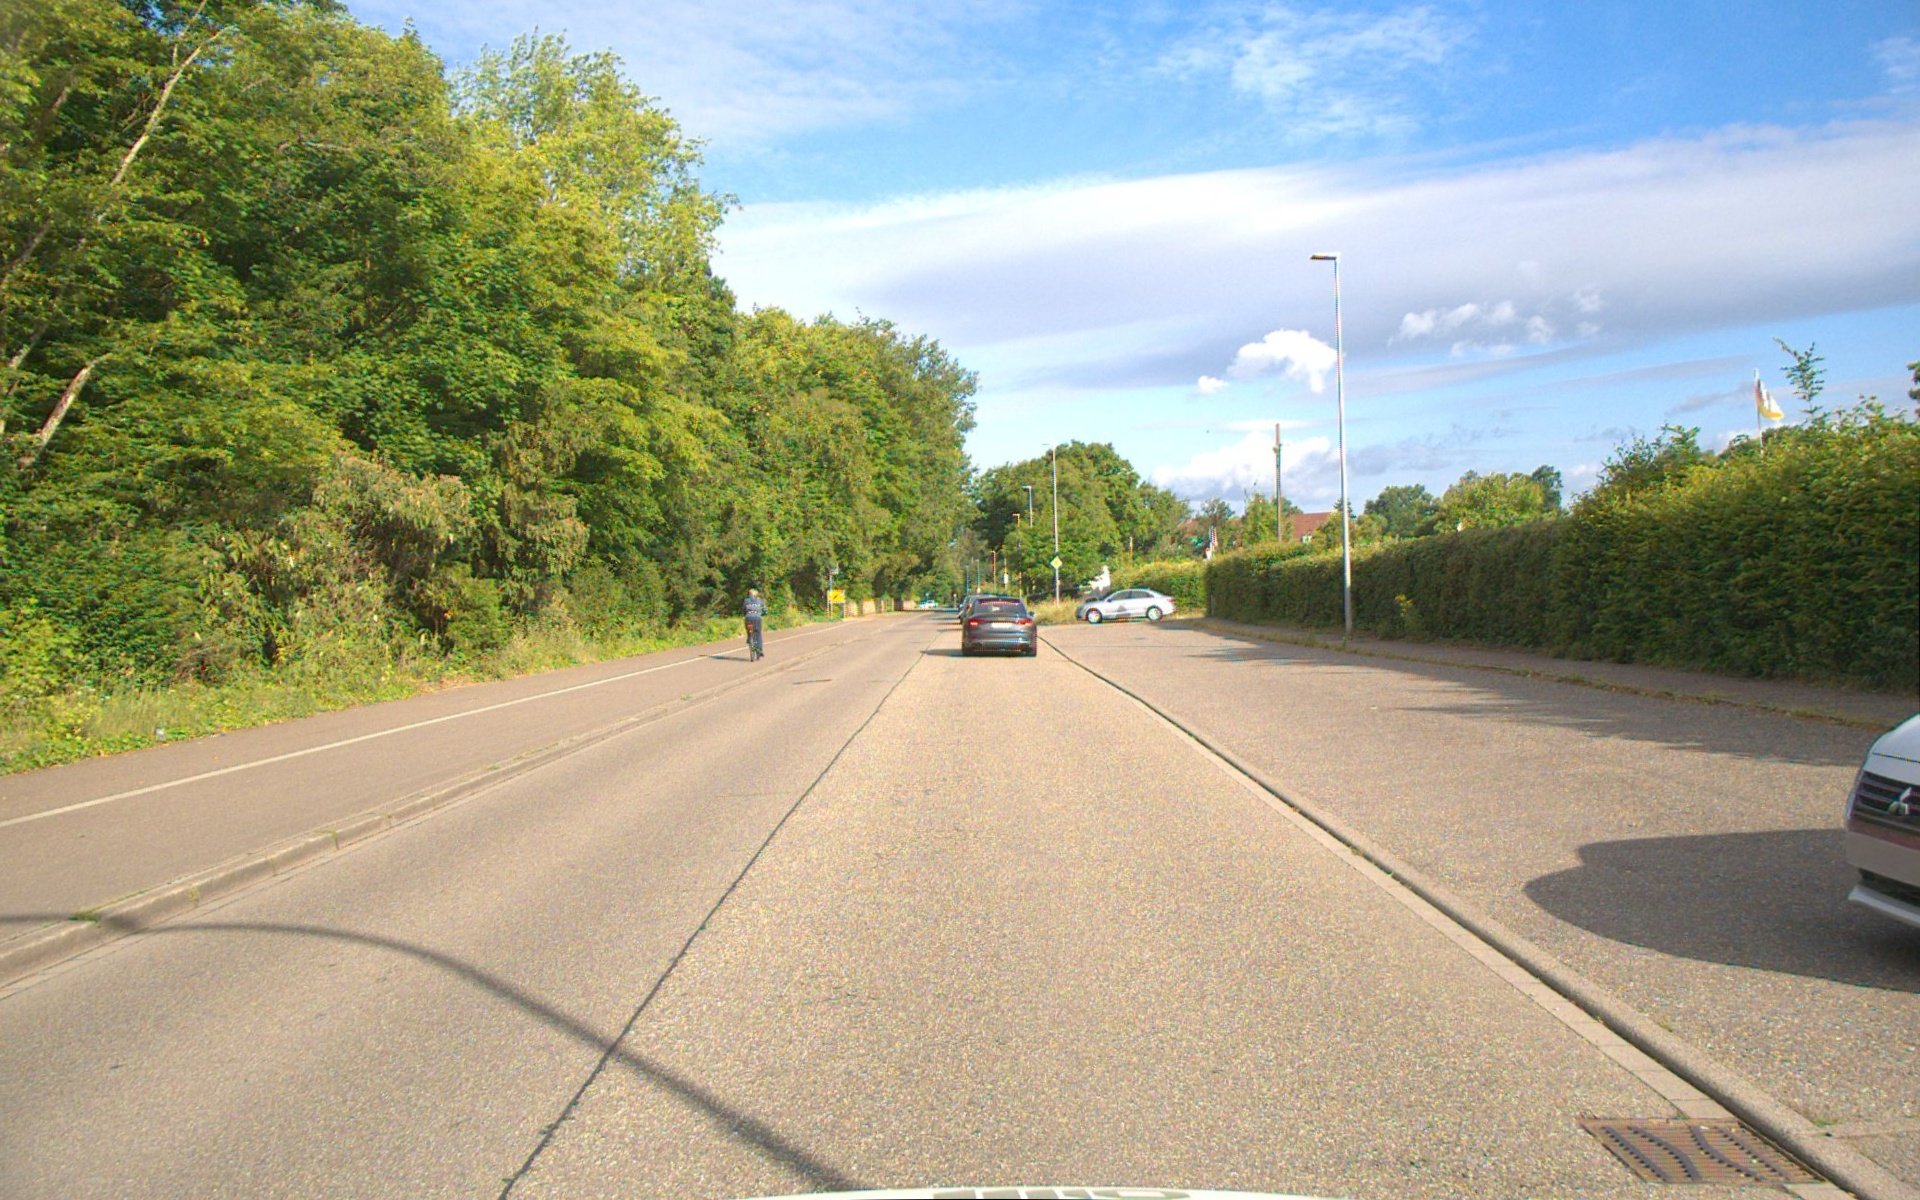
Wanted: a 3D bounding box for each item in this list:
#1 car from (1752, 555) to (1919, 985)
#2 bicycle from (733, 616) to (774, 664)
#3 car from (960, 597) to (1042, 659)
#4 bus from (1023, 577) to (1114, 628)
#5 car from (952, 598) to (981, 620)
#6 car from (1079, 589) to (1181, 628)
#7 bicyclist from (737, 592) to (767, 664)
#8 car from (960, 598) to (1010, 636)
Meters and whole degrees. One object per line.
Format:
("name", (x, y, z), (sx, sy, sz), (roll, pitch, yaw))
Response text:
("car", (5.308, 0.483, 6.217), (3.780, 1.516, 1.692), (-5, 1, -2))
("bicycle", (-4.973, 0.951, 39.893), (0.649, 1.116, 2.349), (0, 0, 1))
("car", (1.017, 0.668, 40.992), (1.925, 1.459, 4.336), (0, 0, 1))
("bus", (6.606, 0.147, 100.959), (5.258, 2.794, 2.067), (-3, 0, -3))
("car", (0.417, 0.603, 108.343), (1.848, 1.396, 4.054), (-1, -1, 0))
("car", (7.317, 0.387, 71.105), (4.269, 1.468, 1.934), (-3, -1, 7))
("bicyclist", (-4.981, 0.662, 39.710), (0.596, 1.706, 0.884), (0, 0, 1))
("car", (0.955, 0.667, 64.964), (1.848, 1.396, 4.054), (-1, -1, 0))
